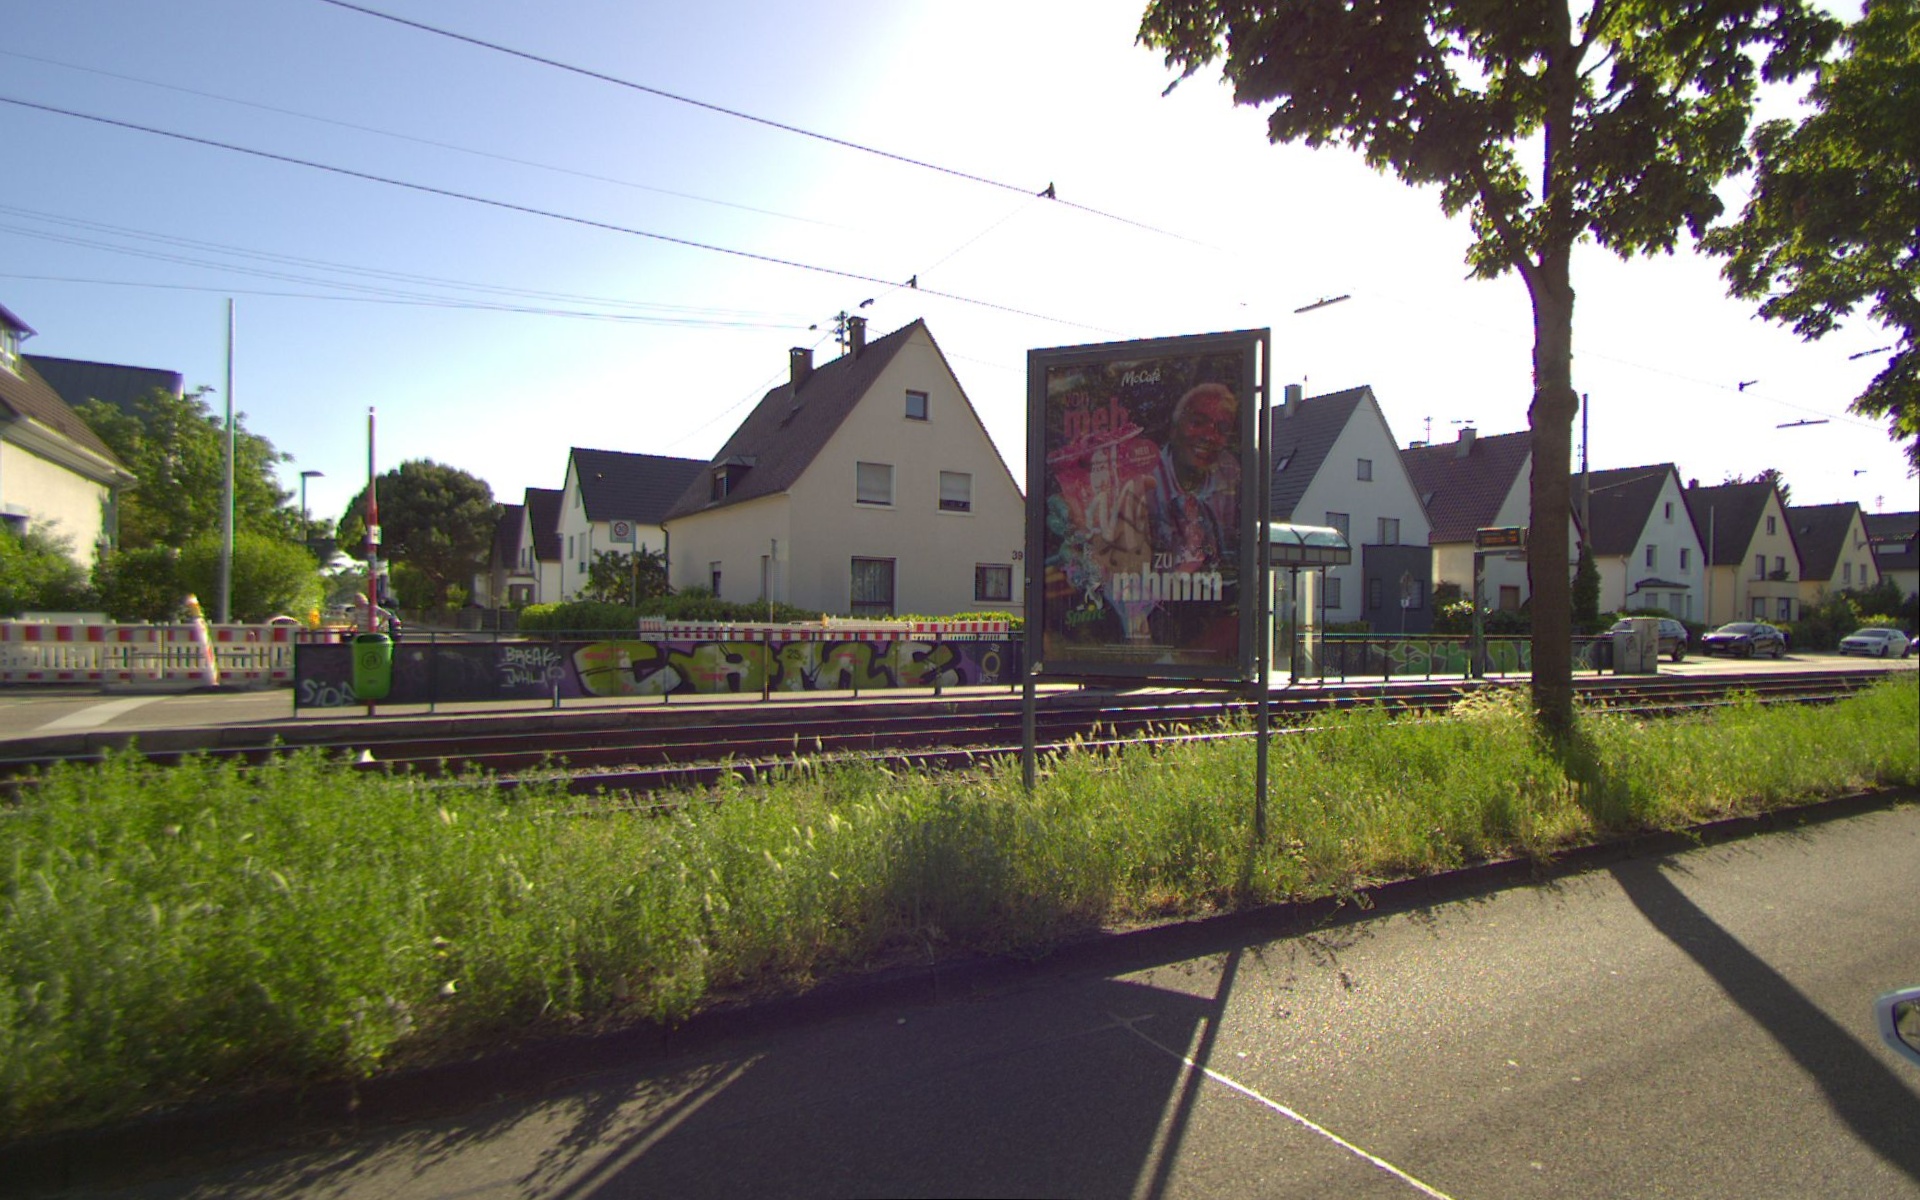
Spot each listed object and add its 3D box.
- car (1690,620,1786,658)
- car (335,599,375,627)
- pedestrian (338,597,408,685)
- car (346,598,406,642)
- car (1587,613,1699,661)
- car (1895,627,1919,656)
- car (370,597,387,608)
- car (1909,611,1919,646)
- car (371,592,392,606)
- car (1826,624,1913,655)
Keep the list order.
[{"bbox_3d":[34.634,1.740,44.710,4.206,1.515,1.916,2,0,-31],"label":"car"},{"bbox_3d":[-38.530,0.842,63.960,1.979,1.606,3.962,2,1,-34],"label":"car"},{"bbox_3d":[-10.636,0.720,18.213,0.799,1.555,0.792,0,1,31],"label":"pedestrian"},{"bbox_3d":[-23.634,0.779,40.576,1.830,1.606,3.962,2,1,-34],"label":"car"},{"bbox_3d":[27.022,1.475,39.729,4.340,1.736,1.984,2,0,-31],"label":"car"},{"bbox_3d":[54.487,2.371,56.250,4.080,1.469,1.983,2,3,-30],"label":"car"},{"bbox_3d":[-93.481,0.326,161.471,1.979,1.606,3.962,2,1,-34],"label":"car"},{"bbox_3d":[73.746,2.148,74.168,2.077,2.660,5.005,1,0,-29],"label":"car"},{"bbox_3d":[-73.447,-0.159,127.449,1.979,1.606,3.962,2,1,-34],"label":"car"},{"bbox_3d":[46.788,2.045,51.658,4.356,1.445,1.985,2,0,-29],"label":"car"}]
